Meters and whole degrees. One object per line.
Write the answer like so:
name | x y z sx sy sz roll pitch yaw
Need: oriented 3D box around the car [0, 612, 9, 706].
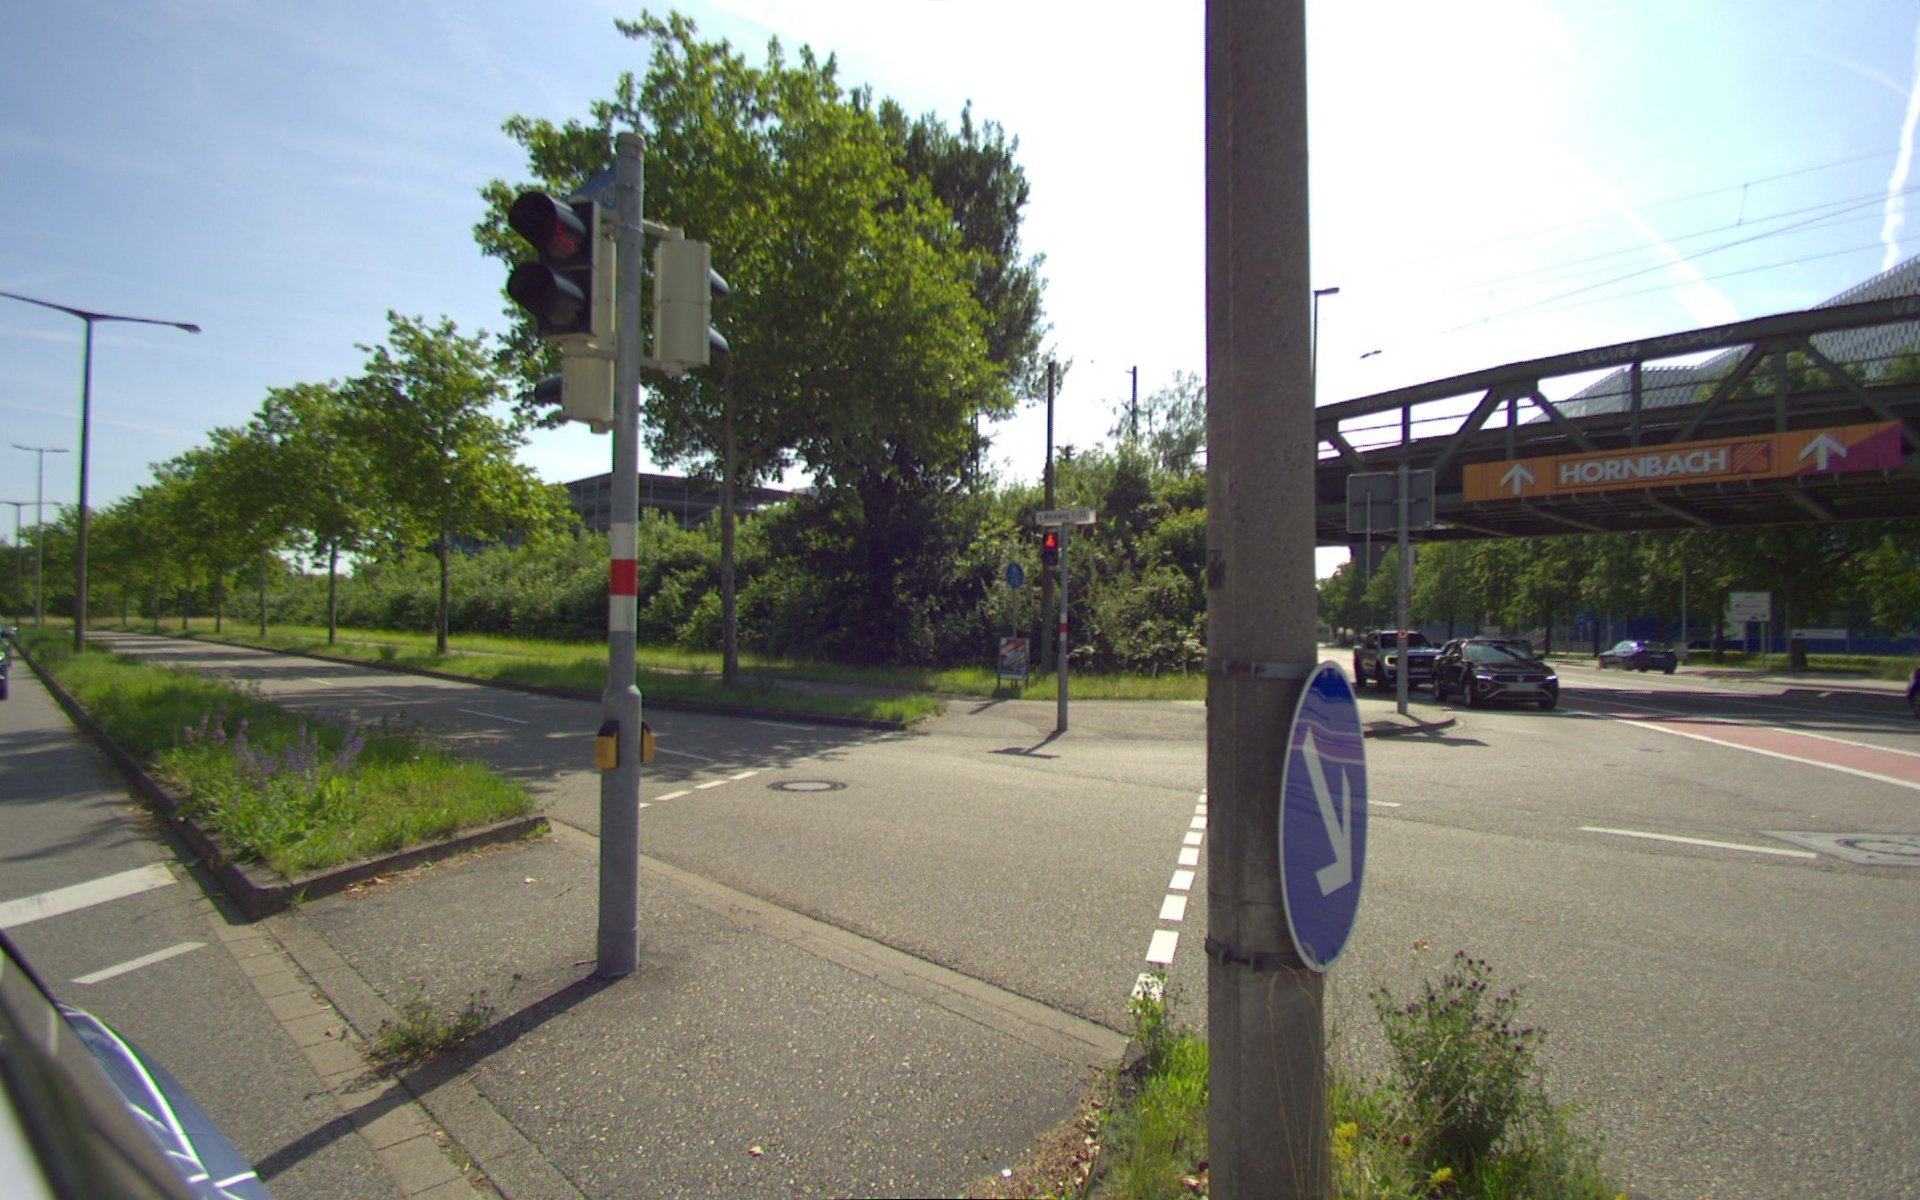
car | -17.909 0.983 17.671 1.847 1.557 4.084 2 -2 -44

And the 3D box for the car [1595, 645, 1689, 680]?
car | 29.902 2.704 44.529 1.772 1.408 4.311 0 -2 10

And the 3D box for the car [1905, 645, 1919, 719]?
car | 18.951 1.507 17.452 1.752 1.406 4.321 0 -2 10

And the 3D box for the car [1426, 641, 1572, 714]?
car | 12.371 1.733 23.510 1.803 1.492 3.930 -2 -2 10

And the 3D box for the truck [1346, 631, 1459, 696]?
truck | 13.695 1.928 31.699 2.010 1.833 5.307 -2 -2 10
